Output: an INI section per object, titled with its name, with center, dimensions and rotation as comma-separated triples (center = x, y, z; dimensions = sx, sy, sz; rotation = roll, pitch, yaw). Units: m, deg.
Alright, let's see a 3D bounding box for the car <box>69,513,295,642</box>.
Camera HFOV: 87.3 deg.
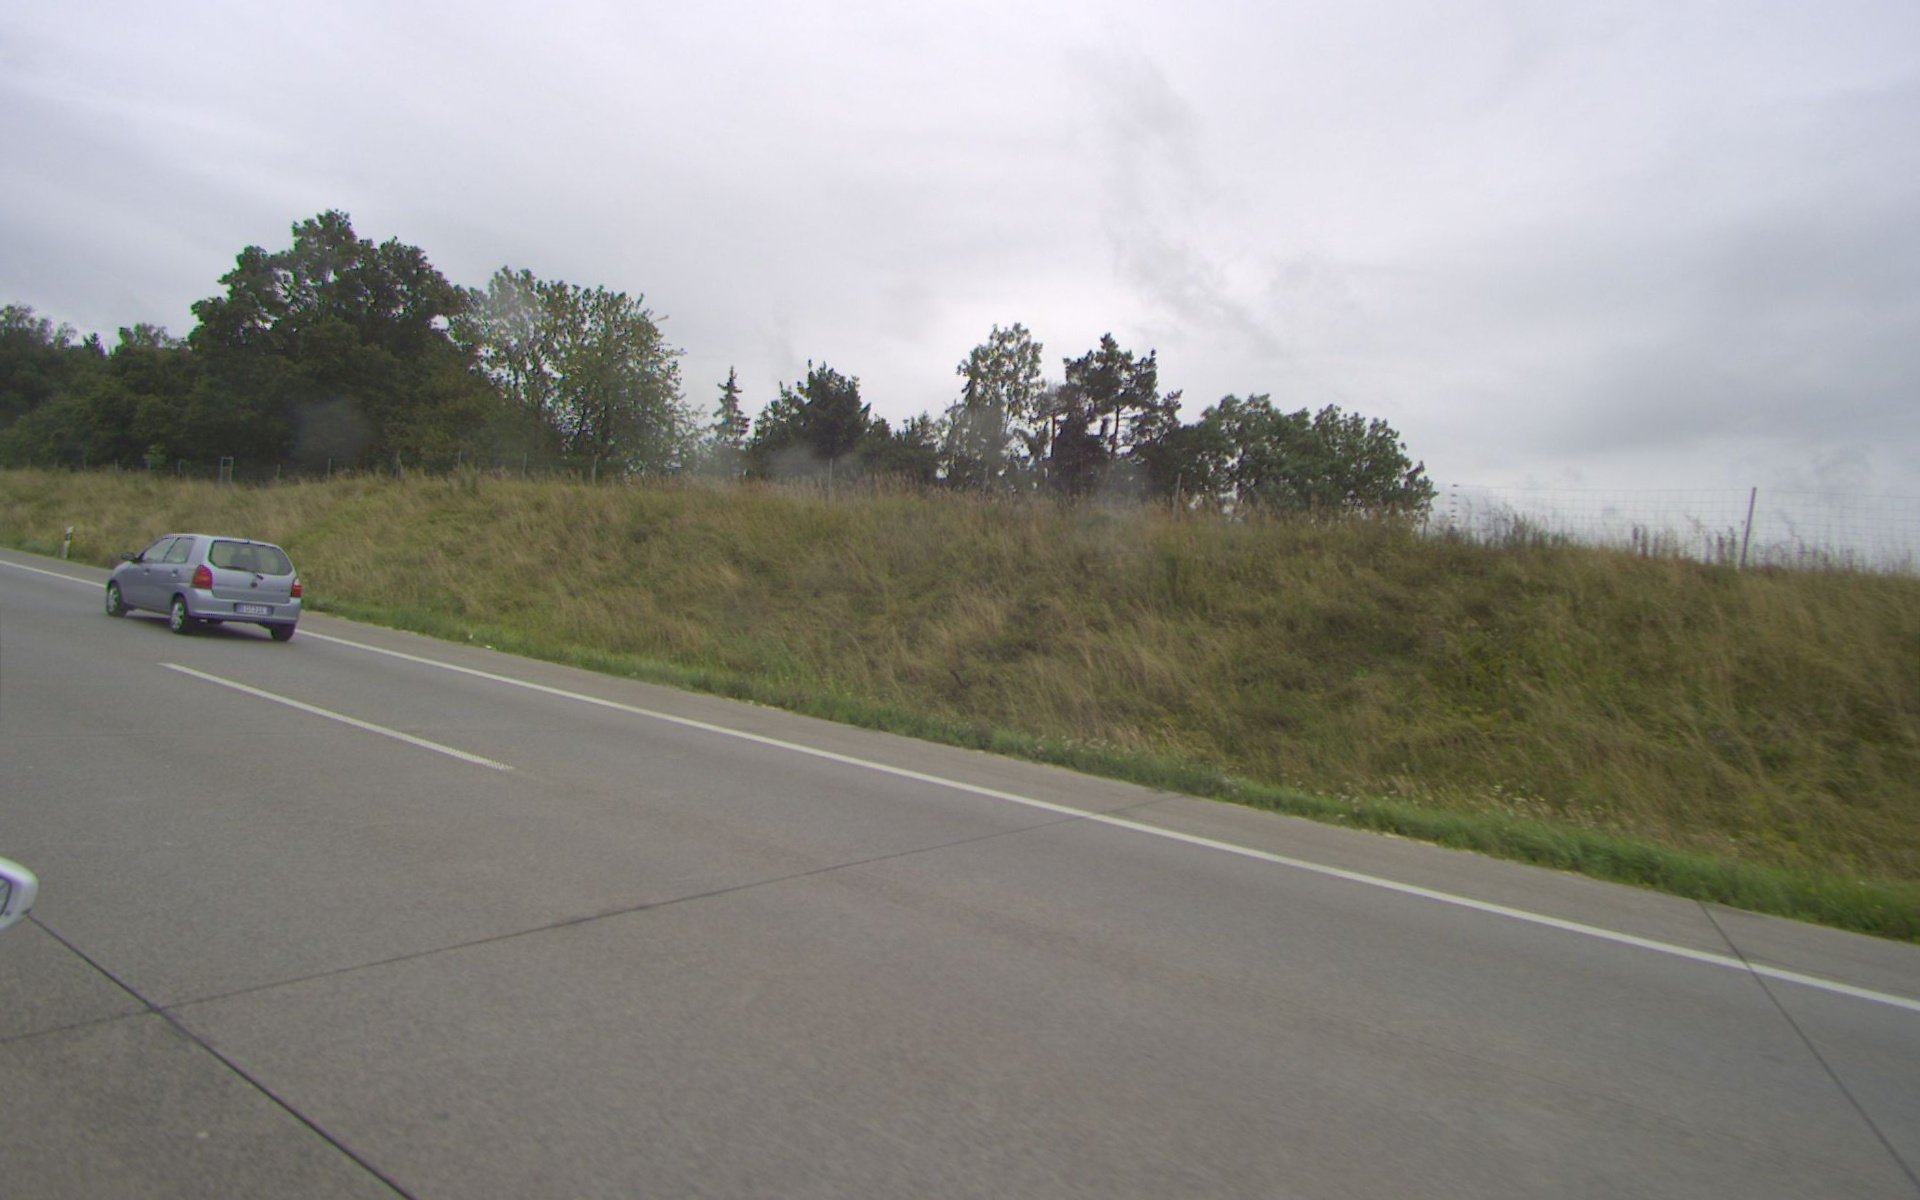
[car]
center = -12.168, -0.360, 15.709
dimensions = 3.445, 1.488, 1.489
rotation = 8, 0, 30
